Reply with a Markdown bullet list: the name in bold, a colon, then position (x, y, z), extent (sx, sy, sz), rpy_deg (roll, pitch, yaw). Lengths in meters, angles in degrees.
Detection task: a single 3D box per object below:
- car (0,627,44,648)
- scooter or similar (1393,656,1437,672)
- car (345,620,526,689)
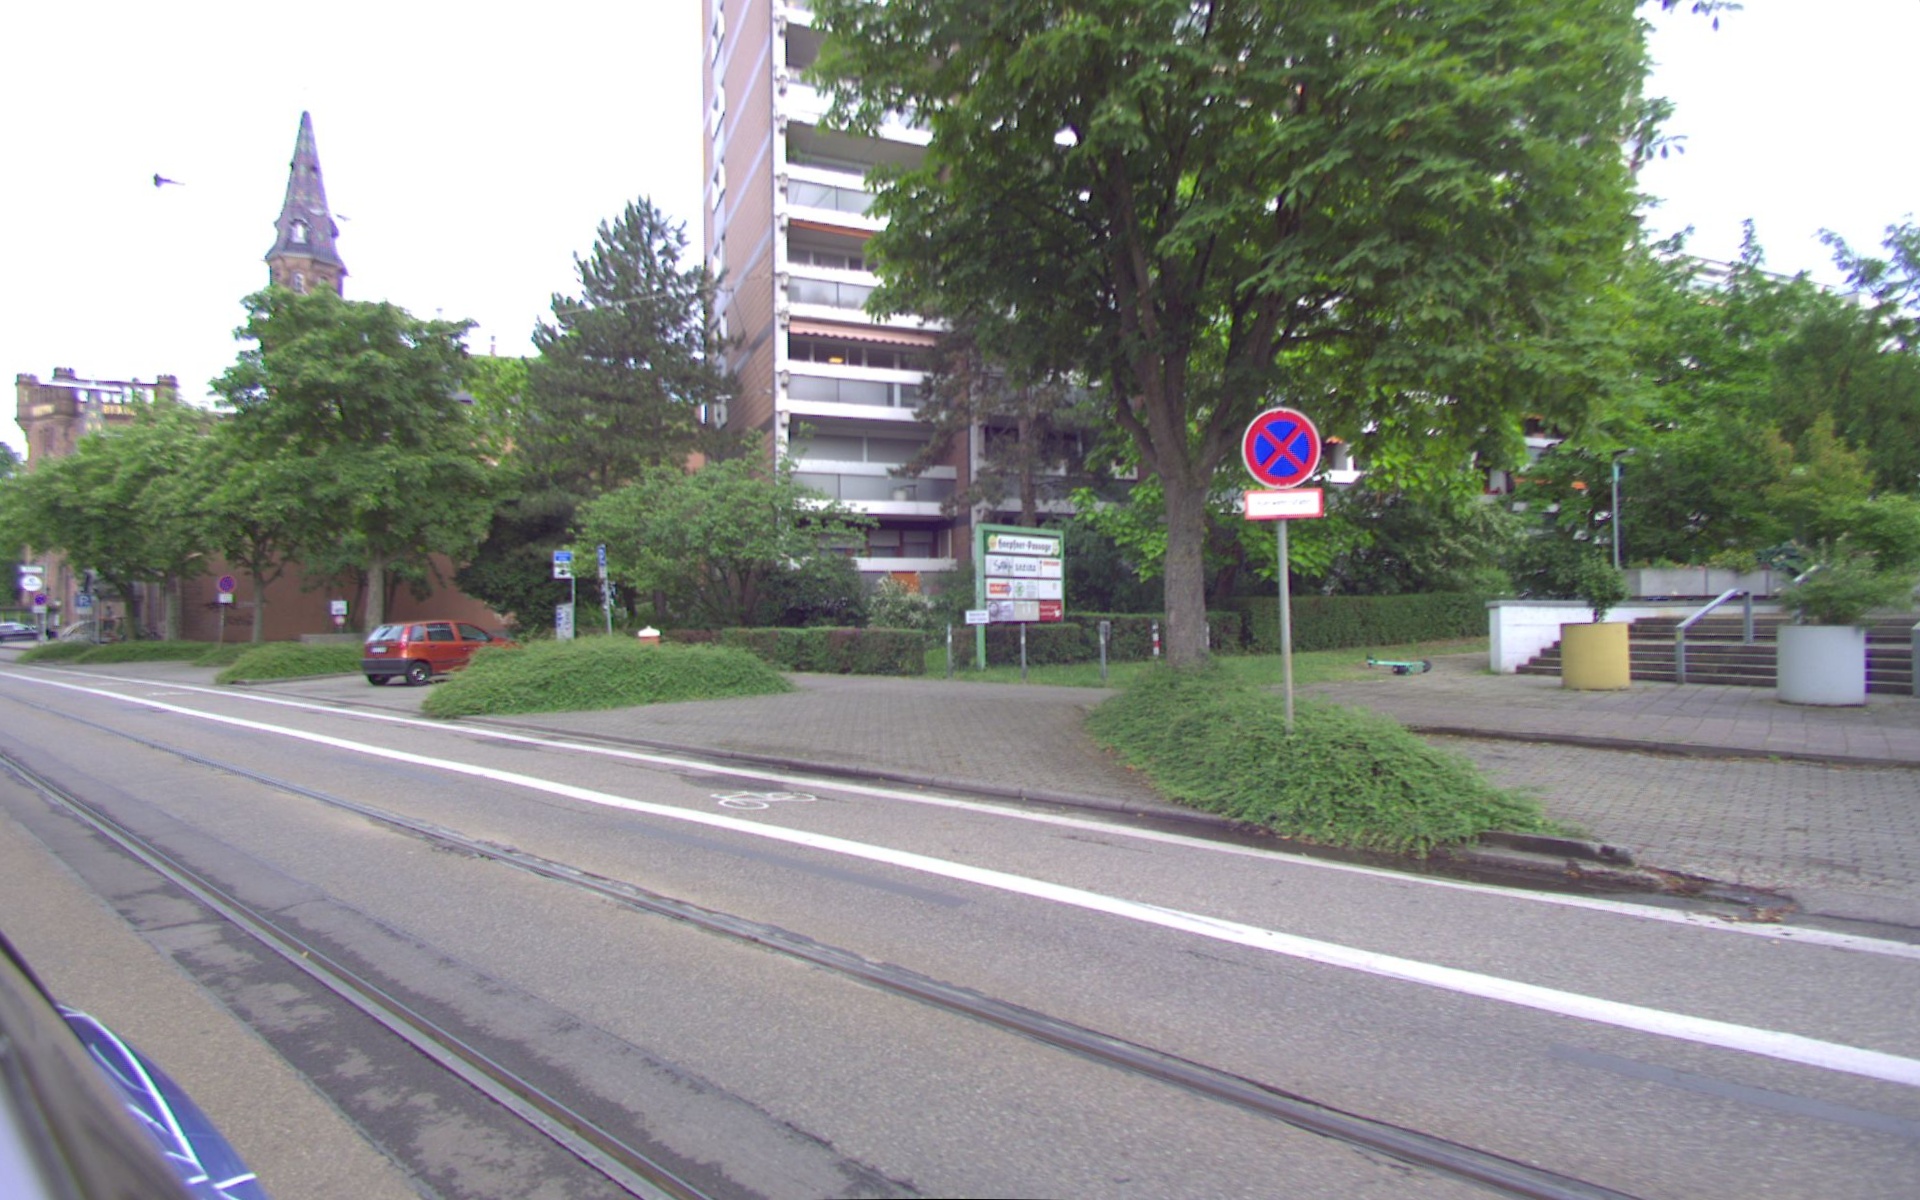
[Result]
- **car**: position (-72.890, 2.860, 77.598), extent (1.798, 1.541, 3.792), rpy_deg (-2, -1, 44)
- **scooter or similar**: position (8.463, 1.184, 18.818), extent (1.202, 0.173, 0.297), rpy_deg (-4, 3, -43)
- **car**: position (-12.118, 1.205, 23.596), extent (1.626, 1.387, 3.472), rpy_deg (0, 0, 27)
